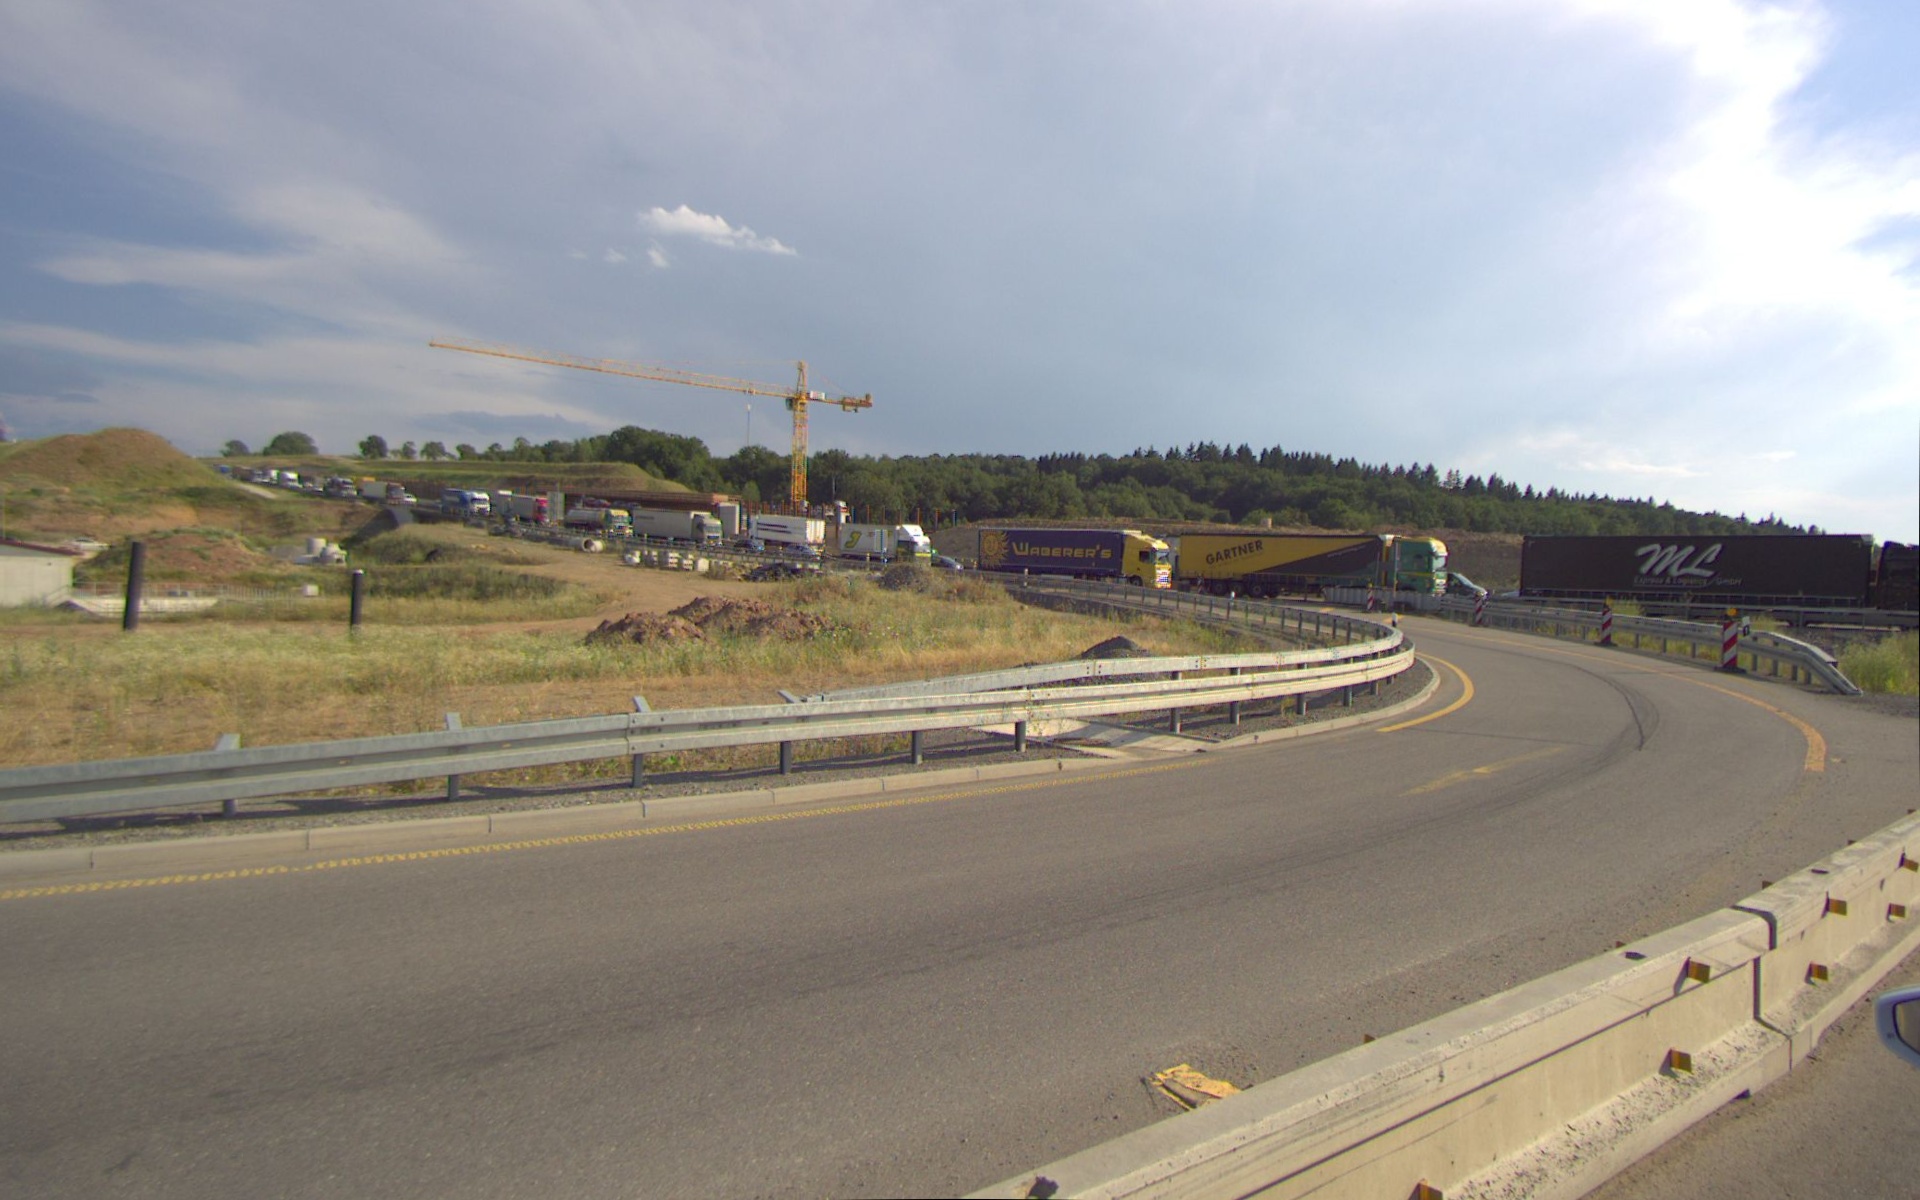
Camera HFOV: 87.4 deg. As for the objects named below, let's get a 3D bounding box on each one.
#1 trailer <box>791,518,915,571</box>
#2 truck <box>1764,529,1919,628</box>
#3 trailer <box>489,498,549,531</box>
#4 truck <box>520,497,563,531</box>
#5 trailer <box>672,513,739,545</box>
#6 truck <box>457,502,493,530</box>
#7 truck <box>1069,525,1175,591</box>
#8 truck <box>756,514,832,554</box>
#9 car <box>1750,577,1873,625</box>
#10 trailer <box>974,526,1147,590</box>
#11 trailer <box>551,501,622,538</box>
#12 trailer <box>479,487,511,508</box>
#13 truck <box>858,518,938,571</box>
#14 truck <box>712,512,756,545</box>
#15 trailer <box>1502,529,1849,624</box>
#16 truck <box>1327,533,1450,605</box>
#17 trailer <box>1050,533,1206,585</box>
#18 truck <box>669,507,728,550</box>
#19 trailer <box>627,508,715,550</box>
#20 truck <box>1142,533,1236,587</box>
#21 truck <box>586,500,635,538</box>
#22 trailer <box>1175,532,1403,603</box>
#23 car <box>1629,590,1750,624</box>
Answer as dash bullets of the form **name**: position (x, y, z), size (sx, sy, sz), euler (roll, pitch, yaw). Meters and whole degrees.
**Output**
- **trailer**: position (-10.098, -5.121, 92.516), size (14.056, 4.372, 3.095), euler (4, 2, 45)
- **truck**: position (39.415, -1.015, 44.292), size (5.924, 4.115, 2.475), euler (4, 3, 42)
- **trailer**: position (-65.084, -12.517, 148.011), size (14.056, 4.372, 3.095), euler (4, 2, 45)
- **truck**: position (-59.244, -12.136, 142.217), size (6.802, 4.372, 3.094), euler (4, 2, 45)
- **trailer**: position (-38.028, -10.513, 149.603), size (3.092, 4.372, 14.068), euler (1, 2, -43)
- **truck**: position (-76.811, -13.291, 158.984), size (2.507, 4.054, 8.439), euler (1, 2, -44)
- **truck**: position (11.440, -3.001, 71.390), size (6.802, 4.372, 3.094), euler (4, 2, 45)
- **truck**: position (-20.483, -7.983, 122.899), size (3.540, 4.471, 13.035), euler (2, 1, -37)
- **car**: position (40.172, 0.026, 47.452), size (4.270, 2.040, 1.518), euler (4, 2, 43)
- **trailer**: position (7.228, -3.240, 75.577), size (14.056, 4.372, 3.095), euler (4, 2, 45)
- **trailer**: position (-49.235, -10.509, 132.044), size (14.056, 4.372, 3.095), euler (4, 2, 45)
- **trailer**: position (-92.471, -20.358, 199.794), size (11.022, 3.561, 1.960), euler (4, 2, 45)
- **truck**: position (-5.472, -4.833, 87.975), size (6.802, 4.372, 3.094), euler (4, 2, 45)
- **truck**: position (-32.324, -10.126, 143.462), size (3.092, 4.372, 6.808), euler (1, 2, -43)
- **trailer**: position (34.259, -1.363, 49.013), size (13.436, 4.117, 2.474), euler (4, 3, 43)
- **truck**: position (24.797, -1.838, 58.315), size (5.928, 3.954, 2.473), euler (4, 3, 44)
- **trailer**: position (13.617, -3.486, 83.116), size (13.287, 4.050, 2.849), euler (4, 3, 44)
- **truck**: position (-28.840, -7.838, 110.527), size (6.802, 4.372, 3.094), euler (4, 2, 45)
- **trailer**: position (-33.284, -8.098, 114.947), size (14.056, 4.372, 3.095), euler (4, 2, 45)
- **truck**: position (17.943, -3.196, 78.910), size (6.531, 4.050, 2.841), euler (4, 3, 44)
- **truck**: position (-44.203, -10.165, 126.946), size (6.802, 4.372, 3.094), euler (4, 2, 45)
- **trailer**: position (20.153, -2.197, 62.911), size (13.782, 4.012, 2.473), euler (4, 3, 44)
- **car**: position (38.584, 0.344, 53.183), size (4.911, 1.521, 2.022), euler (3, 4, 45)
